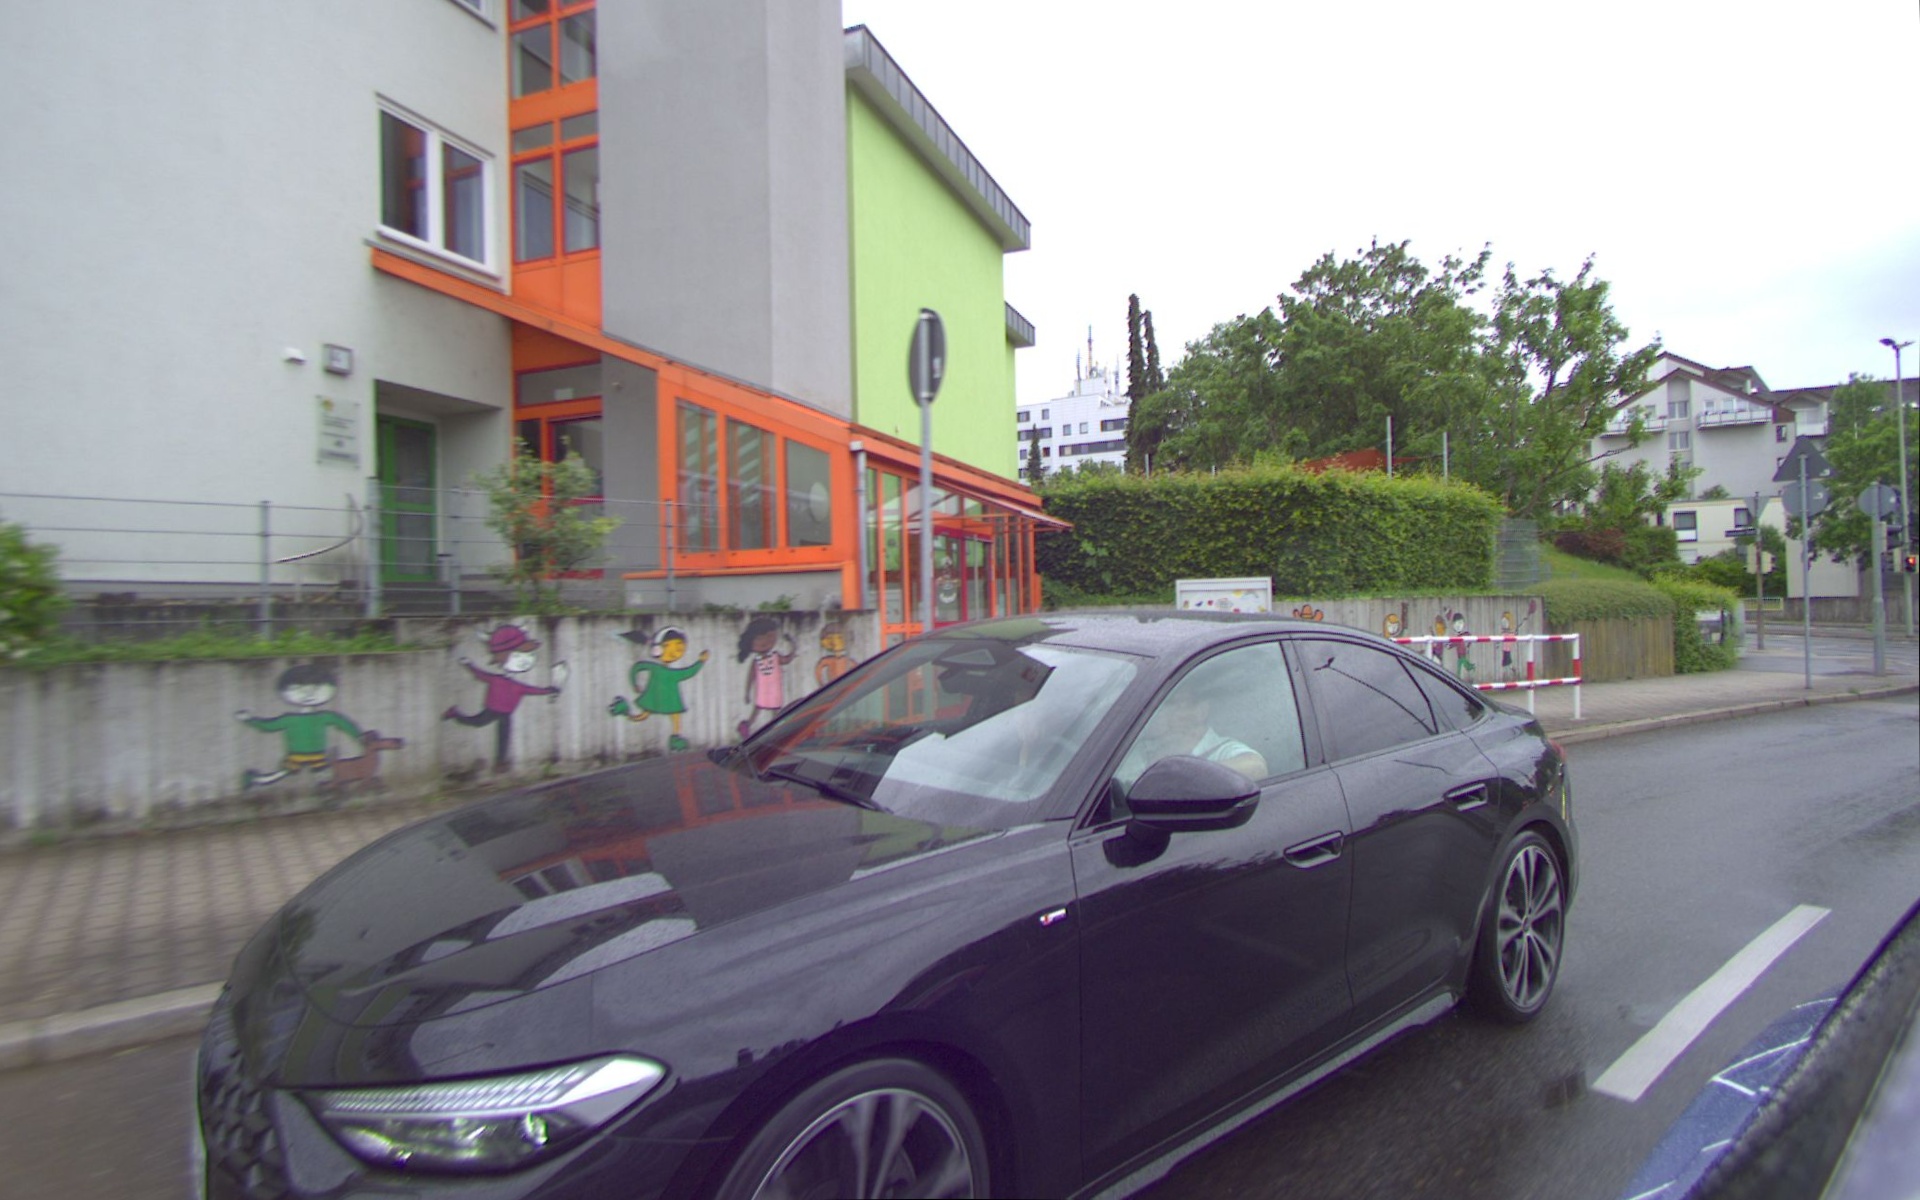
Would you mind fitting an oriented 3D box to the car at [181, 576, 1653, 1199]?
[{"bbox_3d":[0.403,0.696,3.339,4.655,1.442,1.870,-2,0,-40],"label":"car"}]
